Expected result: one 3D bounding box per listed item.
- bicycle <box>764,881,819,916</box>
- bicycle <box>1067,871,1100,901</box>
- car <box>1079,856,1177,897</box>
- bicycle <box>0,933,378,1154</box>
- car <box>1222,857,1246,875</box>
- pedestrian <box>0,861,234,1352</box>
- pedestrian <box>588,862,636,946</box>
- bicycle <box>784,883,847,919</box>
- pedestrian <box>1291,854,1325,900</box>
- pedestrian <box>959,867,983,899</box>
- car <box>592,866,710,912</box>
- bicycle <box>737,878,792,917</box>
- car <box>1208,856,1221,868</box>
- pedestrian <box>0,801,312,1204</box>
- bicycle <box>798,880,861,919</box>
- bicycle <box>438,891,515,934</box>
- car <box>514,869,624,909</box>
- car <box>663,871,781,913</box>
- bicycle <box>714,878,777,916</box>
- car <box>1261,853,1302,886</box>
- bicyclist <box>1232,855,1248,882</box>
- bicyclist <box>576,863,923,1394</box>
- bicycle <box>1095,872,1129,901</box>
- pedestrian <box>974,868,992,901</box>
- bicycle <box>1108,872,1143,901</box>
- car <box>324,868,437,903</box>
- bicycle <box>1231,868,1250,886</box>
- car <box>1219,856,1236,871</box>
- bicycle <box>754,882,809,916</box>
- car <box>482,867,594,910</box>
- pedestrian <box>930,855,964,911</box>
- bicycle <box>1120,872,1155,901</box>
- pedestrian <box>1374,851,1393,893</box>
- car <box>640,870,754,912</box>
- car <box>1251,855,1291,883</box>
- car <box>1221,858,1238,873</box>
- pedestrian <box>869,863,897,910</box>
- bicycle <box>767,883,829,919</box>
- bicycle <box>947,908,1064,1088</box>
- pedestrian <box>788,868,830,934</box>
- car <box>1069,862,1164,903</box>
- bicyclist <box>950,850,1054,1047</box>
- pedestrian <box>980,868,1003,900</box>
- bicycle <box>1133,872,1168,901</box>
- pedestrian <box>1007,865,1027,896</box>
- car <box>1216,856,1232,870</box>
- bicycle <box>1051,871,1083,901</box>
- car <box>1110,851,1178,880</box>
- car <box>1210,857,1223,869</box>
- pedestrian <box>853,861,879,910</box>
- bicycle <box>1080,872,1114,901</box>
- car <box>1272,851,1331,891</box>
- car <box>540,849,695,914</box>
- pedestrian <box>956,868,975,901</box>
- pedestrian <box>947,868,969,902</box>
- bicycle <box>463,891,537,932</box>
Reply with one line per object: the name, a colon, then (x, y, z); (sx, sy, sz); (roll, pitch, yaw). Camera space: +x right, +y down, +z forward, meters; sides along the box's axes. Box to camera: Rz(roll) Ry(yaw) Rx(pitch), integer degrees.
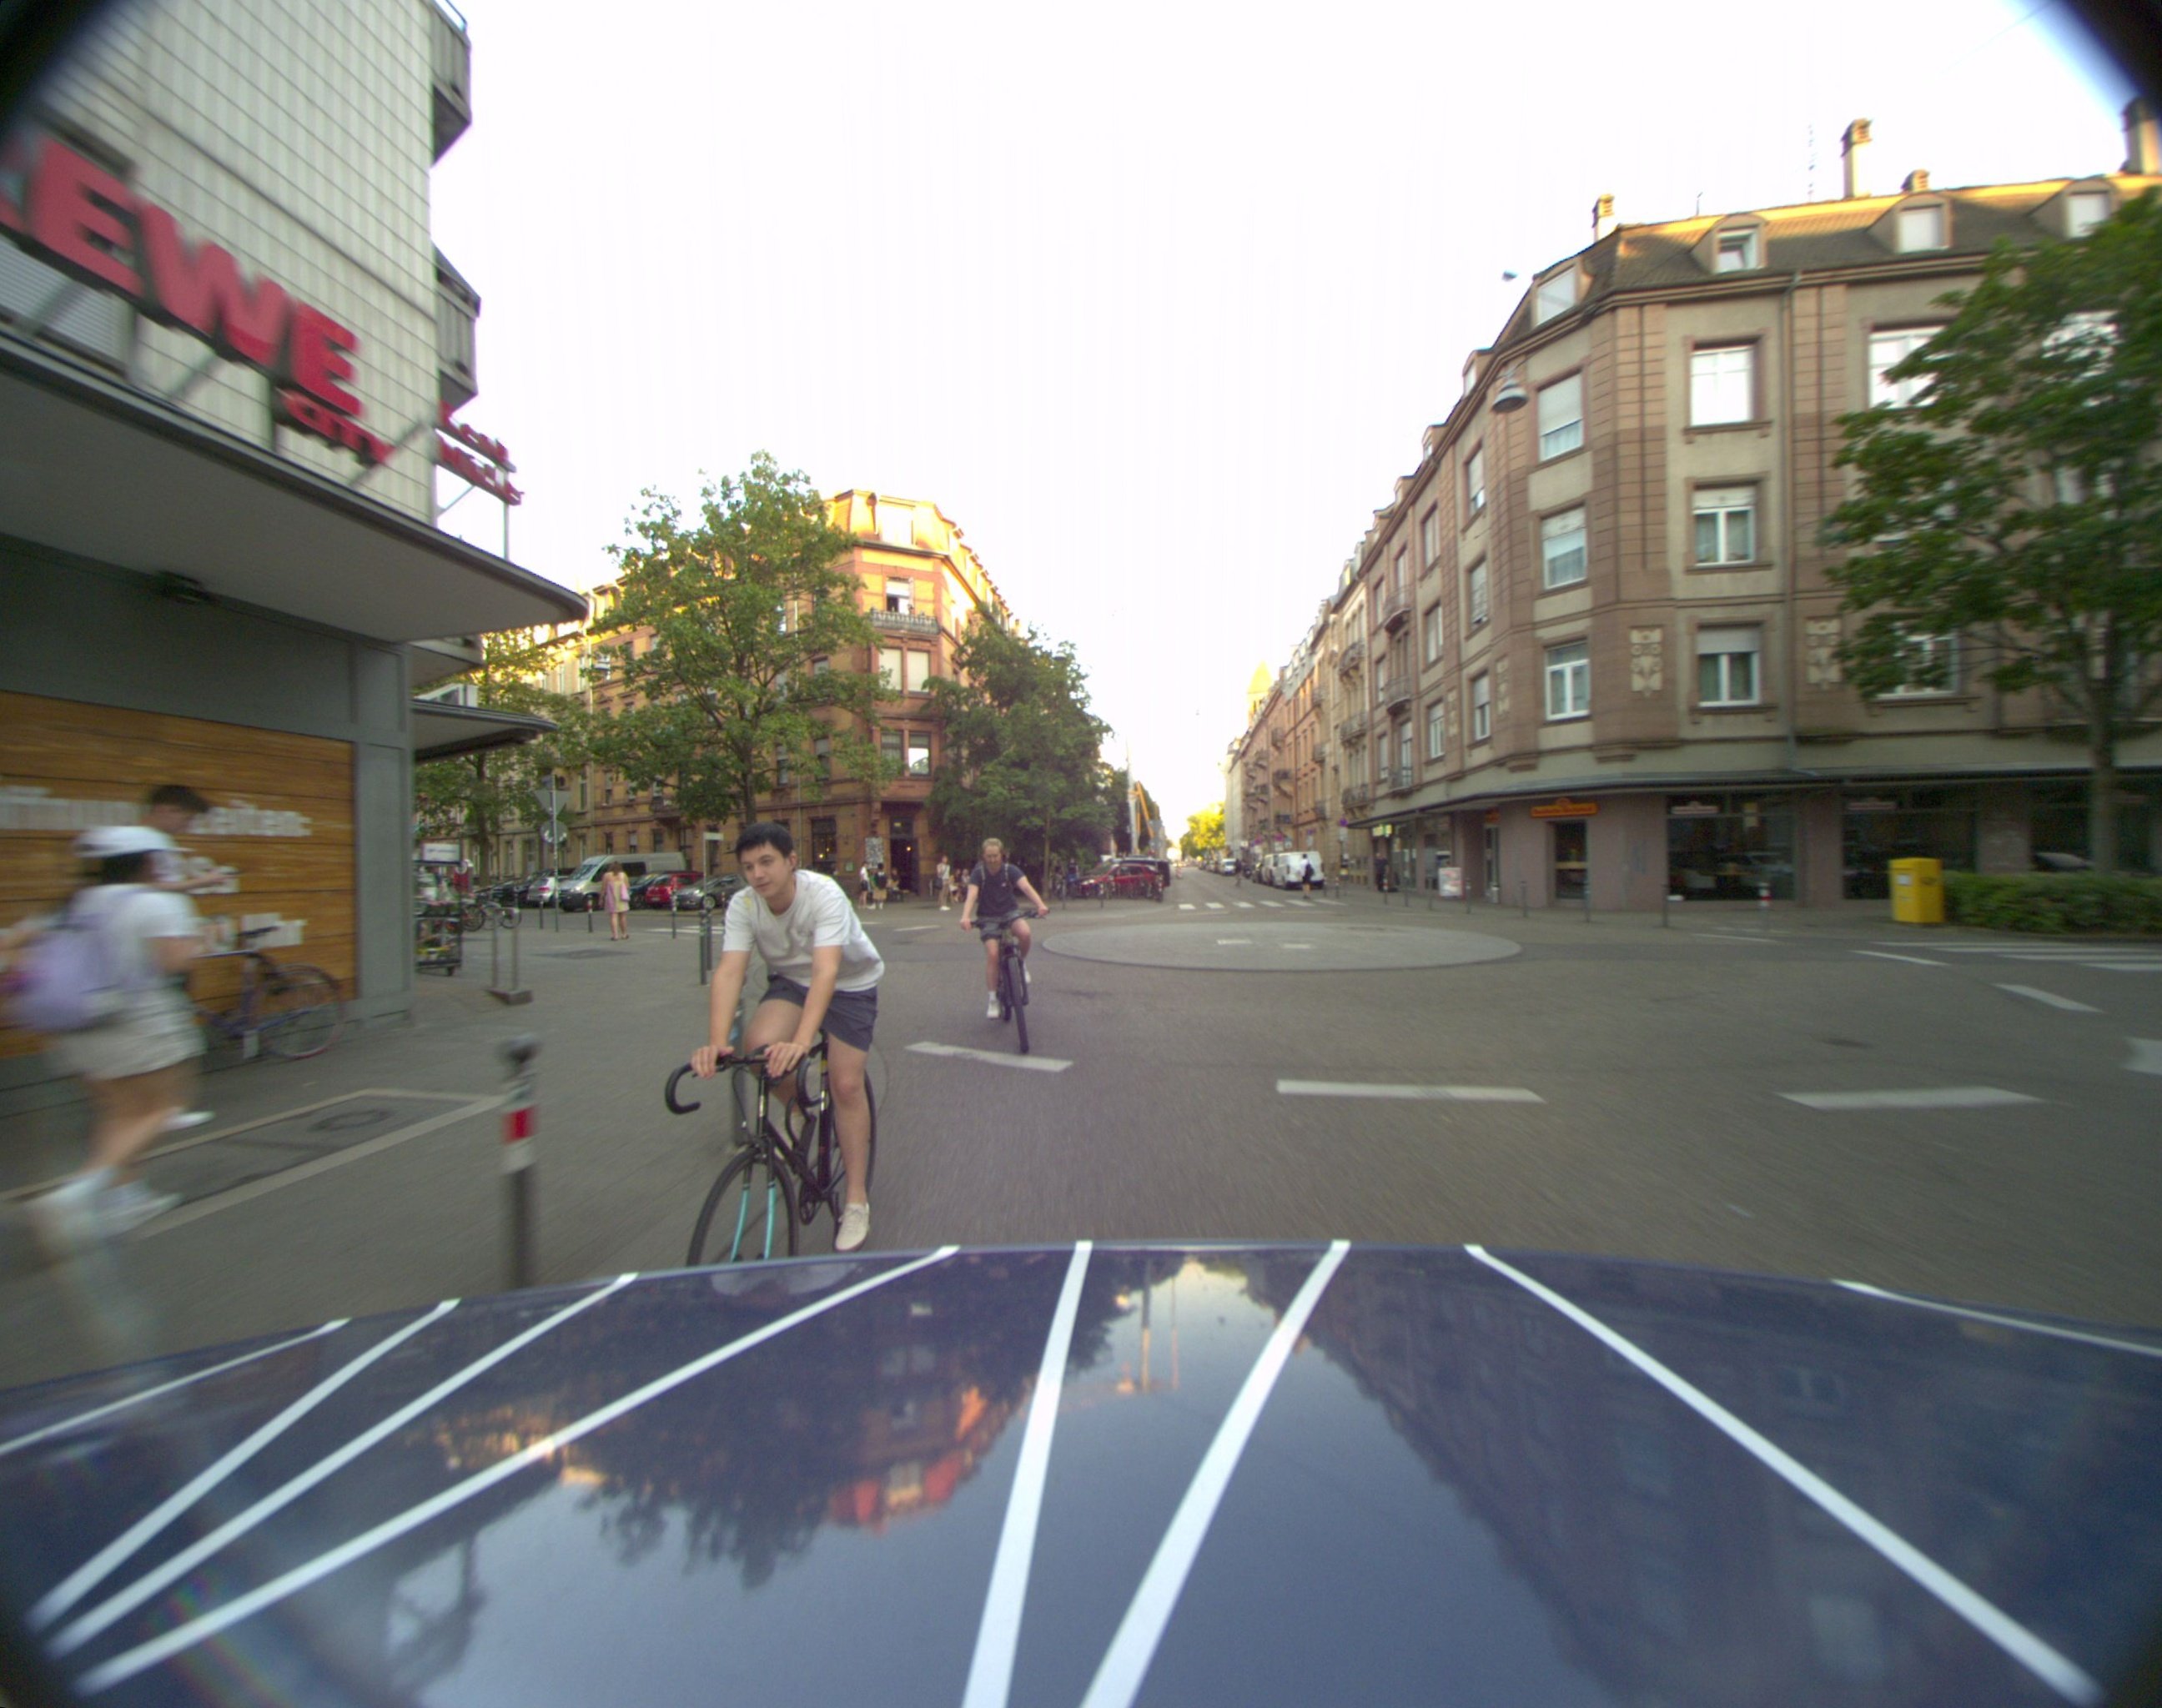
bicycle: (-10.073, 1.551, 26.511); (0.711, 1.072, 1.886); (-2, 1, 18)
bicycle: (0.092, 1.317, 31.781); (0.666, 1.158, 2.112); (1, 0, -20)
car: (2.692, 1.236, 43.696); (5.150, 2.085, 2.114); (-2, 1, -18)
bicycle: (-5.833, 1.140, 5.074); (0.457, 1.018, 1.784); (-2, 0, 6)
car: (16.220, 1.257, 80.875); (2.140, 1.811, 4.543); (-2, 0, 7)
pedestrian: (-3.996, 0.861, 2.907); (0.665, 1.642, 0.882); (2, 0, -22)
pedestrian: (-10.002, 1.047, 16.224); (0.694, 1.735, 0.712); (0, -1, -16)
bicycle: (-8.862, 1.557, 25.412); (0.710, 1.045, 1.888); (-1, 1, 33)
pedestrian: (8.911, 0.898, 29.860); (0.747, 1.733, 1.215); (-2, 0, 44)
pedestrian: (-4.542, 1.201, 31.307); (0.673, 1.265, 0.642); (-1, 1, 33)
car: (-18.378, 1.464, 32.663); (1.759, 1.653, 3.982); (-1, 2, 32)
bicycle: (-11.155, 1.515, 26.855); (0.711, 1.232, 1.886); (-2, 1, 18)
car: (21.306, 1.289, 120.924); (1.907, 1.728, 3.852); (-2, 1, 10)
pedestrian: (-5.290, 0.700, 4.220); (0.762, 1.900, 1.191); (1, 0, 7)
bicycle: (-8.258, 1.469, 25.042); (0.710, 1.148, 1.888); (-1, 1, 33)
bicycle: (-16.068, 1.548, 20.201); (1.781, 1.076, 0.570); (0, -1, 11)
car: (-24.521, 1.643, 36.521); (1.759, 1.653, 3.983); (-1, 1, 32)
car: (-14.330, 1.469, 30.535); (1.623, 1.412, 3.983); (-1, 1, 32)
bicycle: (-11.975, 1.519, 27.160); (0.710, 1.232, 1.888); (-1, 1, 39)
car: (12.230, 0.928, 46.659); (1.878, 1.892, 4.329); (-2, 0, 8)
bicyclist: (10.017, 0.927, 47.871); (0.754, 1.630, 1.201); (-1, -1, 1)
bicyclist: (-1.074, 0.802, 2.686); (0.650, 1.500, 0.954); (-2, 1, 9)
bicycle: (1.281, 1.364, 32.287); (0.666, 1.125, 2.112); (1, 0, -20)
pedestrian: (-3.867, 1.204, 30.065); (0.640, 1.265, 0.674); (-2, 1, -8)
bicycle: (1.892, 1.381, 32.561); (0.666, 1.125, 2.112); (1, 0, -20)
car: (-45.342, 2.003, 49.299); (2.197, 2.000, 4.857); (-1, 1, 28)
bicycle: (10.034, 1.432, 47.865); (0.754, 1.124, 1.976); (-1, -1, 1)
car: (18.300, 1.210, 95.223); (1.997, 1.728, 4.002); (-2, 1, 10)
bicycle: (-10.554, 1.576, 26.851); (0.711, 1.072, 1.886); (-2, 1, 18)
car: (-26.483, 1.622, 37.212); (1.846, 1.814, 3.983); (-1, 1, 32)
pedestrian: (-4.547, 0.982, 25.789); (0.673, 1.858, 0.911); (-1, 1, 21)
bicycle: (2.430, 1.380, 32.968); (0.666, 1.162, 2.112); (1, 0, -20)
pedestrian: (12.930, 0.783, 32.445); (0.654, 1.768, 0.693); (-2, -1, 25)
car: (-16.178, 1.503, 32.185); (1.623, 1.494, 3.983); (-1, 1, 32)
car: (13.049, 0.981, 52.541); (2.140, 1.811, 4.543); (-2, 0, 8)
car: (17.777, 1.381, 91.174); (1.839, 1.633, 3.927); (-2, 1, 10)
pedestrian: (-7.117, 1.154, 27.316); (0.673, 1.628, 0.642); (-1, 2, 43)
bicycle: (-9.552, 1.564, 25.716); (0.710, 1.052, 1.888); (-1, 1, 33)
bicycle: (-0.680, 1.104, 6.603); (0.794, 1.132, 2.342); (-2, -1, -7)
pedestrian: (-6.711, 1.148, 18.757); (0.538, 1.597, 0.870); (0, -1, 19)
car: (1.659, 1.284, 35.379); (4.004, 1.658, 1.824); (-2, 1, -24)
bicyclist: (-0.692, 0.773, 6.610); (0.794, 1.562, 0.826); (-2, -1, -7)
pedestrian: (-3.708, 1.221, 31.414); (0.676, 1.265, 0.639); (-3, 2, -44)
bicycle: (2.978, 1.384, 32.775); (0.666, 1.162, 2.112); (1, 0, -20)
pedestrian: (-2.793, 1.138, 33.067); (0.721, 1.297, 0.750); (-1, 0, -13)
car: (18.822, 1.205, 100.226); (1.997, 1.728, 4.002); (-2, 1, 10)
bicycle: (-0.602, 1.294, 31.551); (0.666, 1.158, 2.112); (1, 0, -20)
car: (5.282, 0.933, 63.819); (5.150, 2.182, 2.335); (-2, 1, -18)
car: (20.488, 1.349, 115.258); (1.867, 1.728, 3.802); (-2, 1, 10)
pedestrian: (-7.812, 1.134, 27.624); (0.674, 1.735, 0.640); (-2, 1, -2)
bicycle: (0.647, 1.339, 32.003); (0.666, 1.125, 2.112); (1, 0, -20)
car: (11.710, 0.875, 40.667); (2.140, 1.946, 4.771); (-2, 0, 6)
car: (-20.569, 1.143, 34.042); (2.115, 2.443, 5.497); (-1, 2, 29)
pedestrian: (-4.636, 1.227, 30.470); (0.675, 1.265, 0.640); (-2, 1, -8)
pedestrian: (-4.840, 1.217, 29.865); (0.675, 1.265, 0.639); (-2, 1, -20)
bicycle: (-15.924, 1.568, 20.845); (1.781, 1.076, 0.570); (0, -1, 11)
